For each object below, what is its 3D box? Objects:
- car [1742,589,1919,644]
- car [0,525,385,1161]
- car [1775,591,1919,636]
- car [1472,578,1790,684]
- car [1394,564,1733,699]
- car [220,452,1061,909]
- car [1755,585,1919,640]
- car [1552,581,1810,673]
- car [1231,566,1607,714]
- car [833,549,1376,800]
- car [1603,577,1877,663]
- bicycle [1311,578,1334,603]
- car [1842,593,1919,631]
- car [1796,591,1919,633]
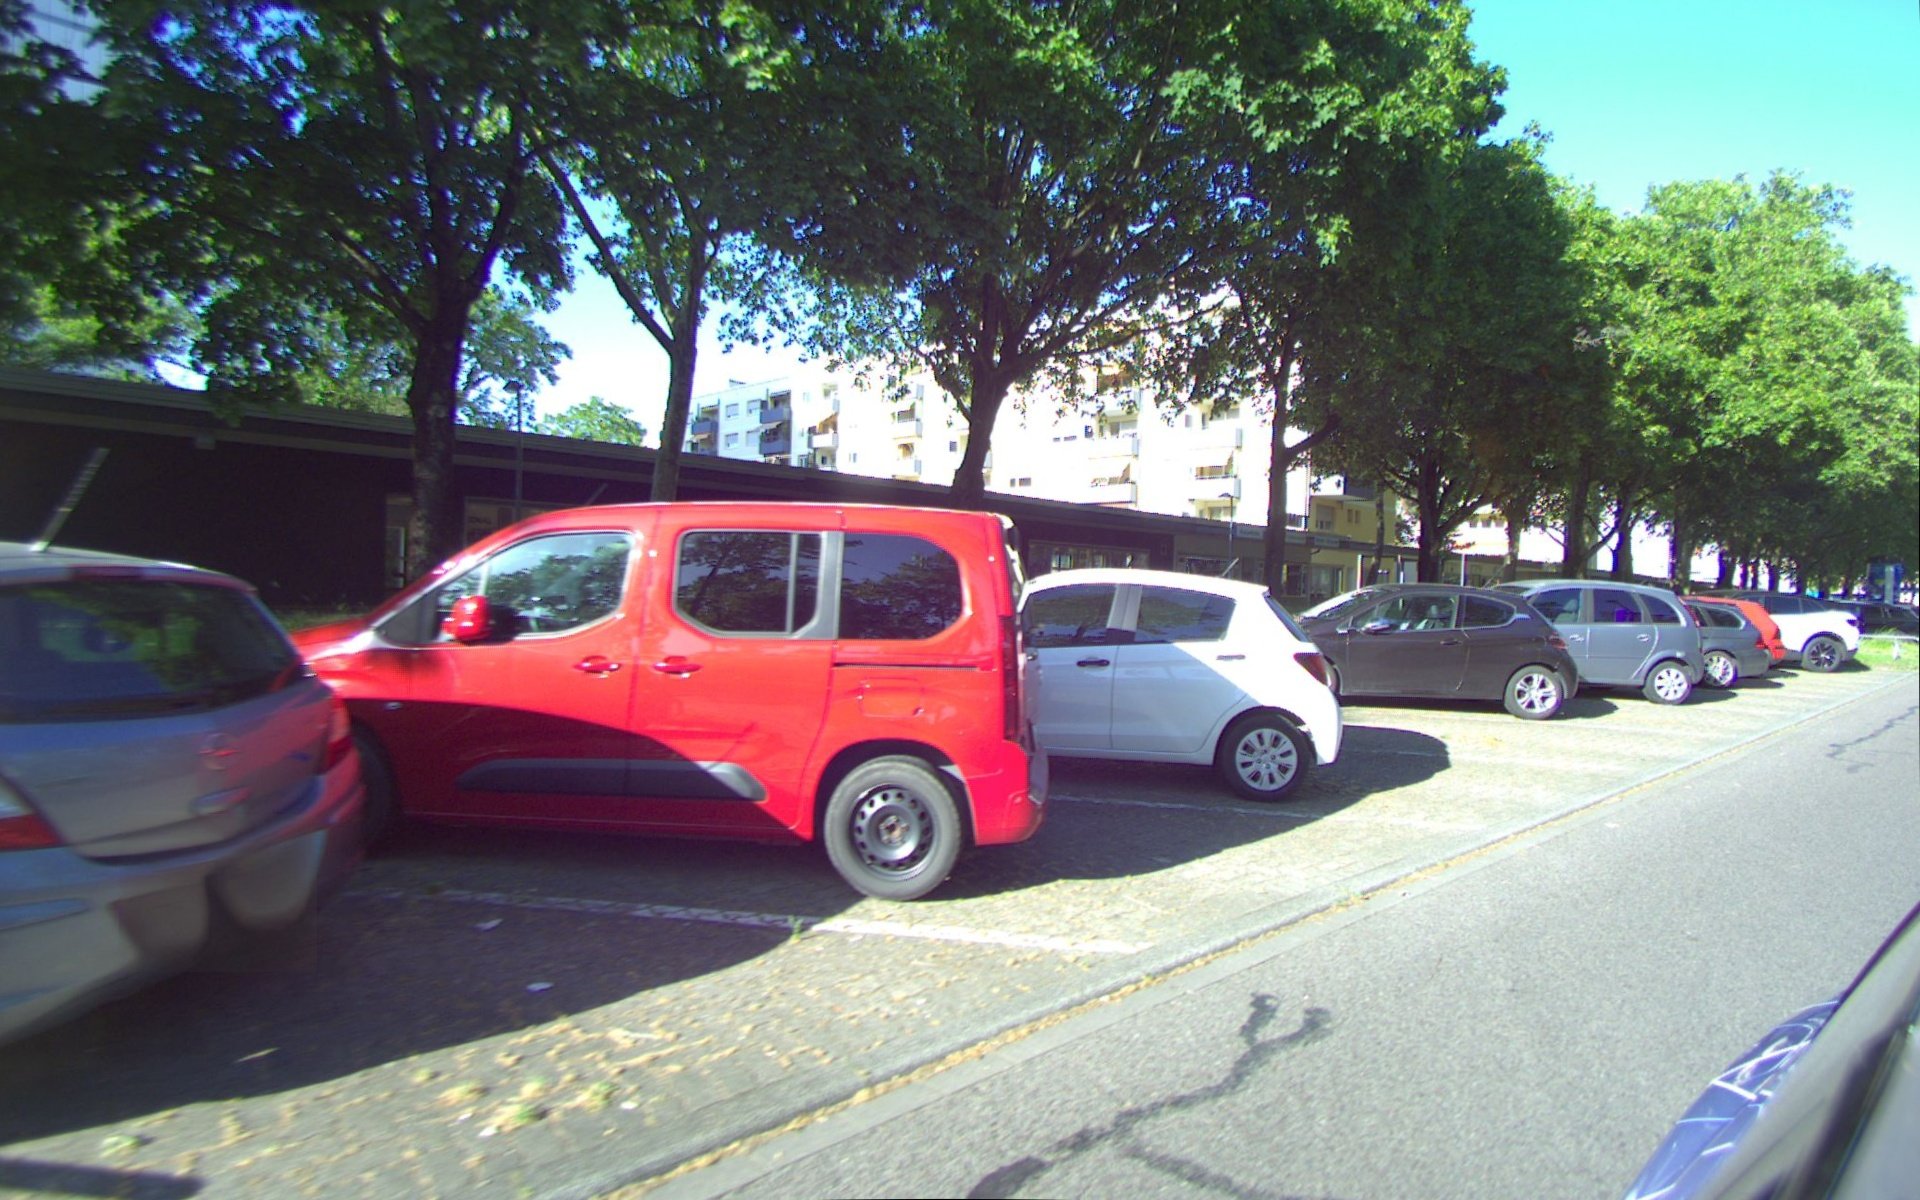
[{"bbox_3d":[27.990,0.517,32.127,4.591,1.442,1.999,3,2,3],"label":"car"},{"bbox_3d":[-4.045,0.474,3.139,3.763,1.490,1.516,3,2,7],"label":"car"},{"bbox_3d":[35.061,0.524,39.540,4.591,1.466,1.999,3,2,3],"label":"car"},{"bbox_3d":[11.013,0.467,16.835,4.013,1.420,1.686,3,2,3],"label":"car"},{"bbox_3d":[8.397,0.385,14.346,3.655,1.610,1.700,3,2,3],"label":"car"},{"bbox_3d":[-1.454,0.286,5.429,3.882,1.865,1.767,2,2,6],"label":"car"},{"bbox_3d":[30.497,0.418,34.779,4.591,1.585,1.999,3,2,3],"label":"car"},{"bbox_3d":[13.622,0.470,19.322,3.515,1.437,1.709,3,3,7],"label":"car"},{"bbox_3d":[5.354,0.414,12.208,3.678,1.476,1.682,2,2,4],"label":"car"},{"bbox_3d":[0.997,0.444,7.660,3.565,1.513,1.680,2,2,6],"label":"car"},{"bbox_3d":[16.595,0.390,21.744,4.232,1.697,1.863,1,0,9],"label":"car"},{"bbox_3d":[19.392,-0.504,54.137,1.633,1.323,0.505,0,0,-44],"label":"bicycle"},{"bbox_3d":[41.369,0.557,43.856,4.418,1.466,1.899,3,2,3],"label":"car"},{"bbox_3d":[37.548,0.508,41.683,4.418,1.466,1.899,3,2,3],"label":"car"}]
